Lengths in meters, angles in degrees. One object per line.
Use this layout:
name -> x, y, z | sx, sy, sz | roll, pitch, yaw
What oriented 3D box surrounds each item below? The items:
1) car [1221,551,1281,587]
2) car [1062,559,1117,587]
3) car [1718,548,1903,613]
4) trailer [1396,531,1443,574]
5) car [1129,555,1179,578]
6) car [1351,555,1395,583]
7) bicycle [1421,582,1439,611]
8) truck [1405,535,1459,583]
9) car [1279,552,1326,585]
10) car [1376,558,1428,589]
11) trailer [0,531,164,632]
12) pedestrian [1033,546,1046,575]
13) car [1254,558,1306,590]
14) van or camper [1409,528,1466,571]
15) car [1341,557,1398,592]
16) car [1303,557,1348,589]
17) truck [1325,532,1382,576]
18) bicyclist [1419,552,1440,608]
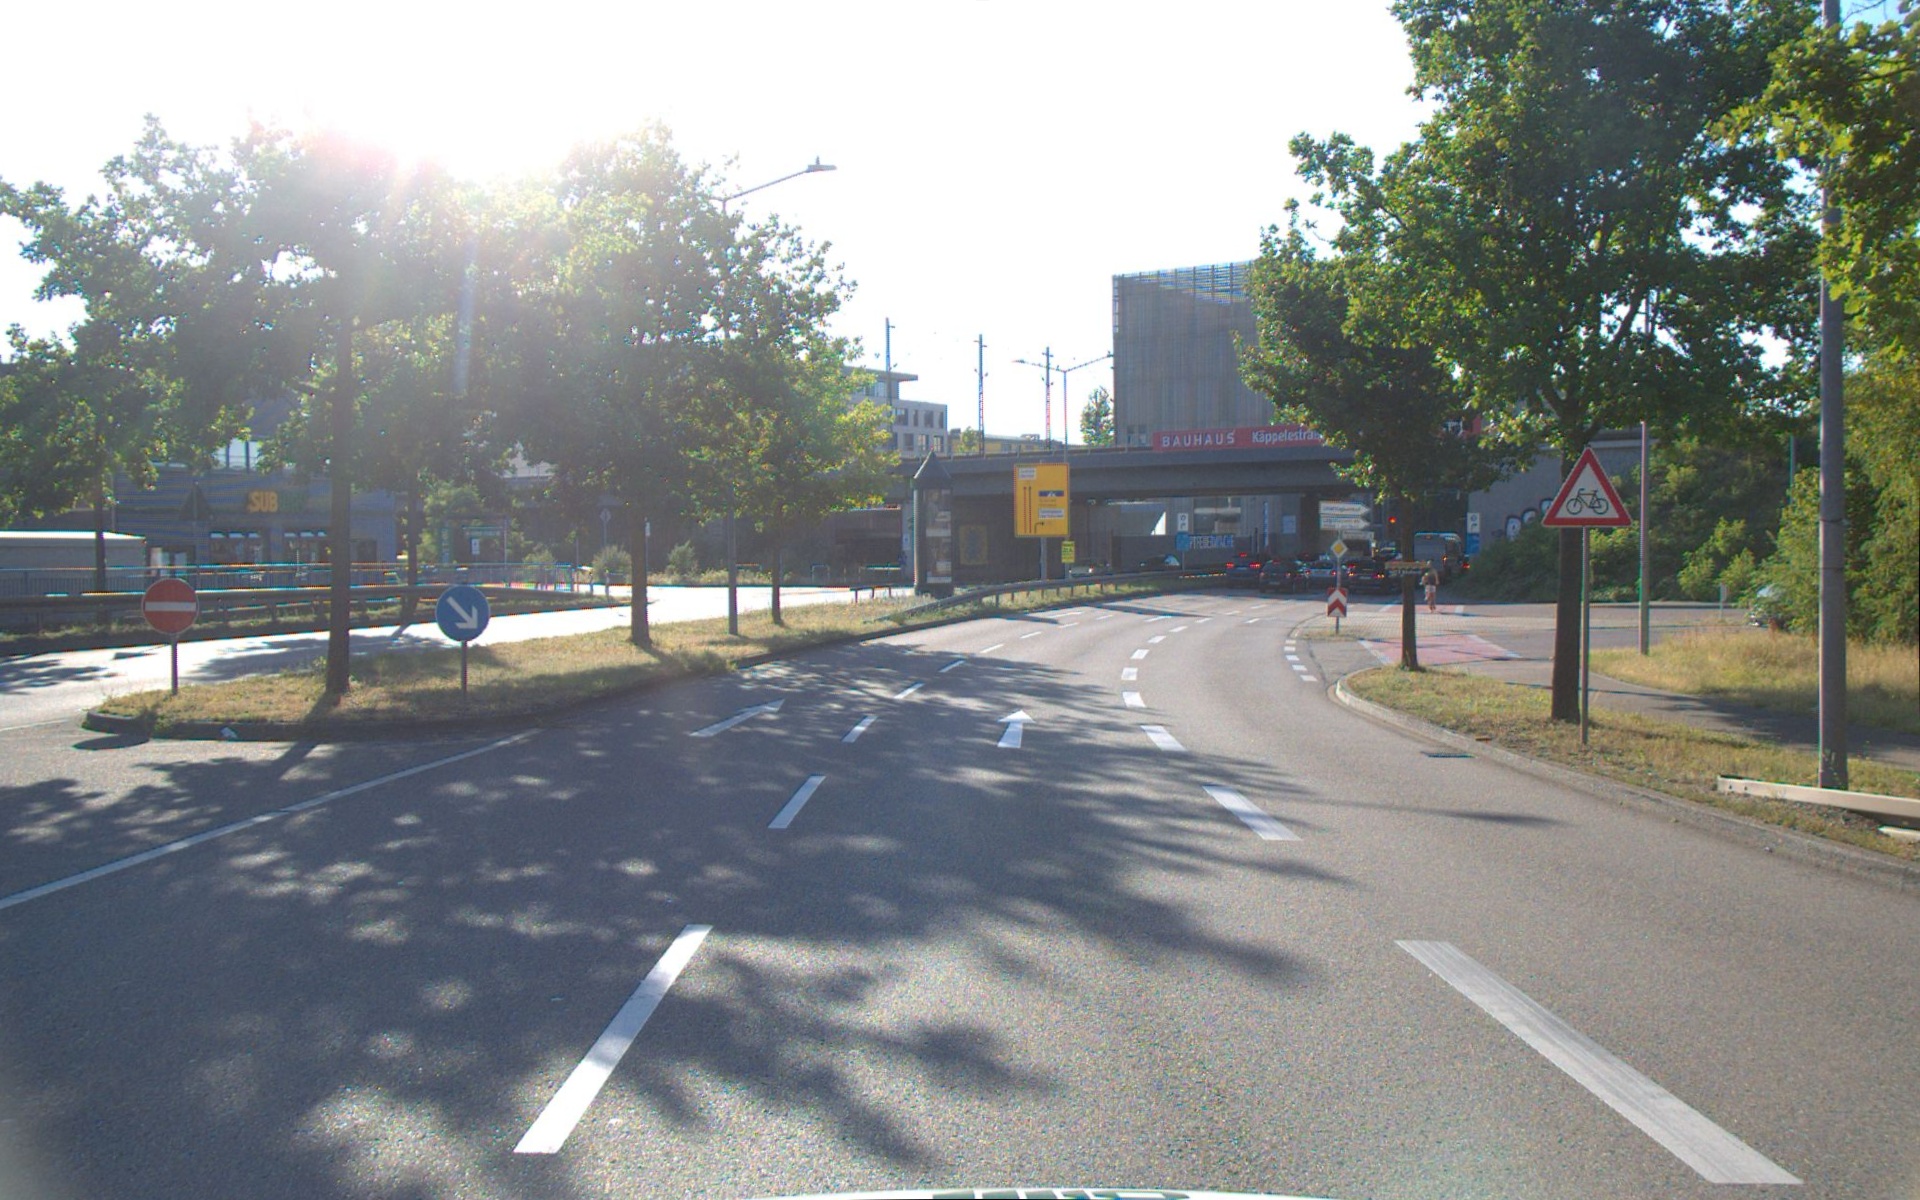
car -> 14.501, -1.559, 82.265 | 1.793, 1.768, 4.458 | 1, 1, 26
car -> 7.178, -1.491, 91.464 | 1.707, 1.488, 3.762 | -1, 1, 27
car -> 22.810, -0.516, 44.468 | 3.908, 1.534, 1.999 | -3, 0, -4
trailer -> 27.948, -2.892, 100.581 | 1.829, 2.508, 3.825 | -1, 1, 30
car -> 12.724, -2.197, 108.366 | 1.642, 1.488, 4.094 | 1, 1, 33
car -> 23.713, -1.800, 94.974 | 1.551, 1.558, 3.827 | 1, 2, 28
bicycle -> 16.423, -0.138, 57.835 | 0.566, 0.980, 2.888 | 0, 1, 16
truck -> 26.148, -2.247, 91.486 | 2.070, 2.563, 4.396 | 0, 0, 27
car -> 19.398, -1.806, 93.661 | 1.804, 1.749, 3.999 | -3, 0, 23
car -> 22.536, -1.345, 84.222 | 1.738, 1.521, 3.827 | -1, 1, 28
trailer -> -19.999, -0.422, 35.244 | 2.368, 2.004, 6.611 | 0, 1, 6
pedestrian -> 5.277, -2.609, 109.843 | 0.681, 1.936, 0.664 | 1, 1, 30
car -> 14.915, -1.223, 77.012 | 1.550, 1.433, 3.830 | 1, 2, 24
van or camper -> 30.538, -3.213, 105.601 | 1.958, 2.615, 5.903 | 1, 2, 32
car -> 19.219, -1.226, 77.588 | 1.706, 1.479, 4.603 | 1, 3, 25
car -> 18.426, -1.384, 83.296 | 1.516, 1.447, 3.416 | -3, 1, 24
truck -> 23.909, -2.786, 100.413 | 1.990, 2.601, 5.529 | 1, 2, 29
bicyclist -> 16.446, -0.723, 57.924 | 0.667, 1.940, 0.834 | 1, 1, 16
